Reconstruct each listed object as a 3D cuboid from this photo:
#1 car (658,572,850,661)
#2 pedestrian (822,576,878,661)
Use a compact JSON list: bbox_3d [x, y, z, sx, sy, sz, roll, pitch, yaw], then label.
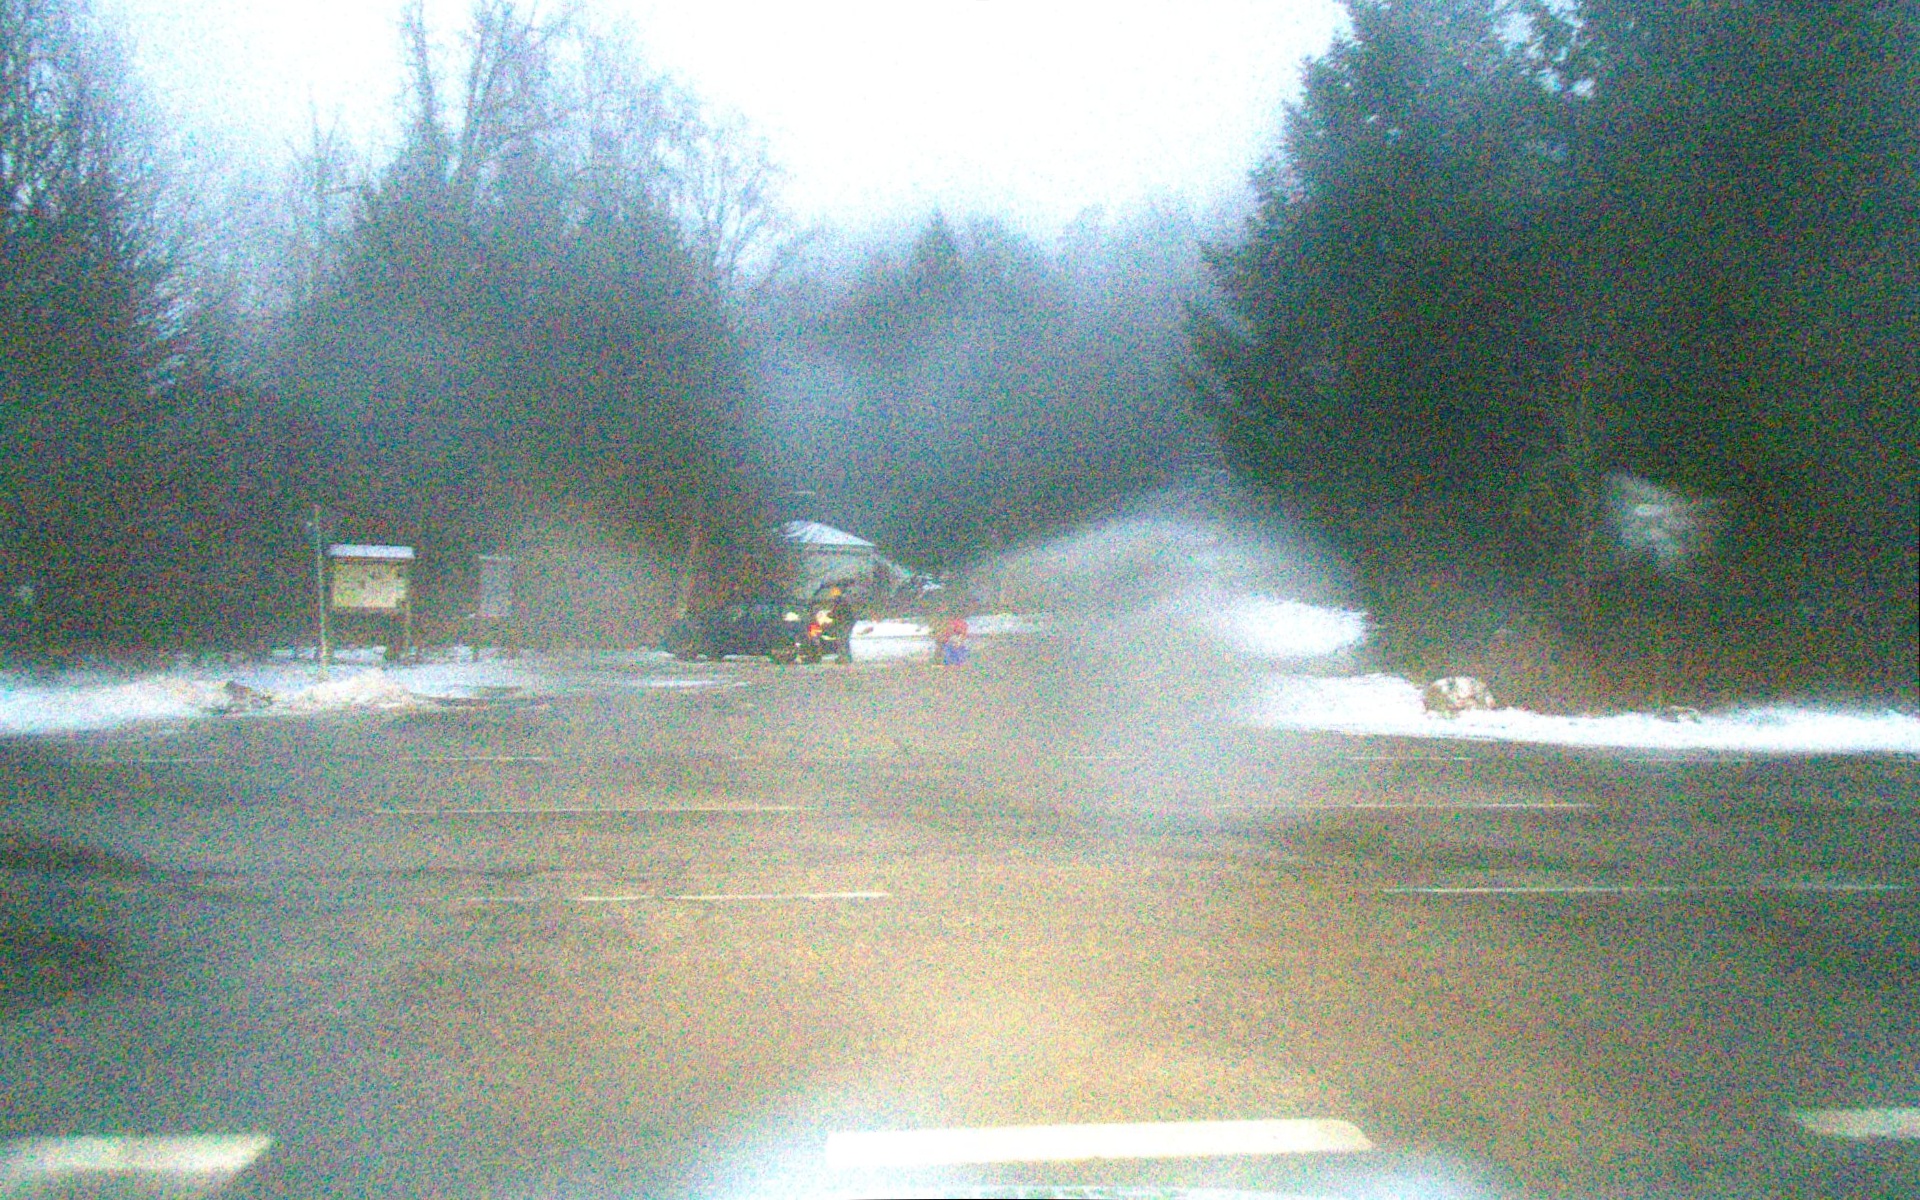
[{"bbox_3d":[-4.711,0.384,38.026,3.863,1.914,2.001,1,-1,14],"label":"car"},{"bbox_3d":[-2.455,0.417,37.070,0.940,1.860,0.925,1,-1,19],"label":"pedestrian"}]
